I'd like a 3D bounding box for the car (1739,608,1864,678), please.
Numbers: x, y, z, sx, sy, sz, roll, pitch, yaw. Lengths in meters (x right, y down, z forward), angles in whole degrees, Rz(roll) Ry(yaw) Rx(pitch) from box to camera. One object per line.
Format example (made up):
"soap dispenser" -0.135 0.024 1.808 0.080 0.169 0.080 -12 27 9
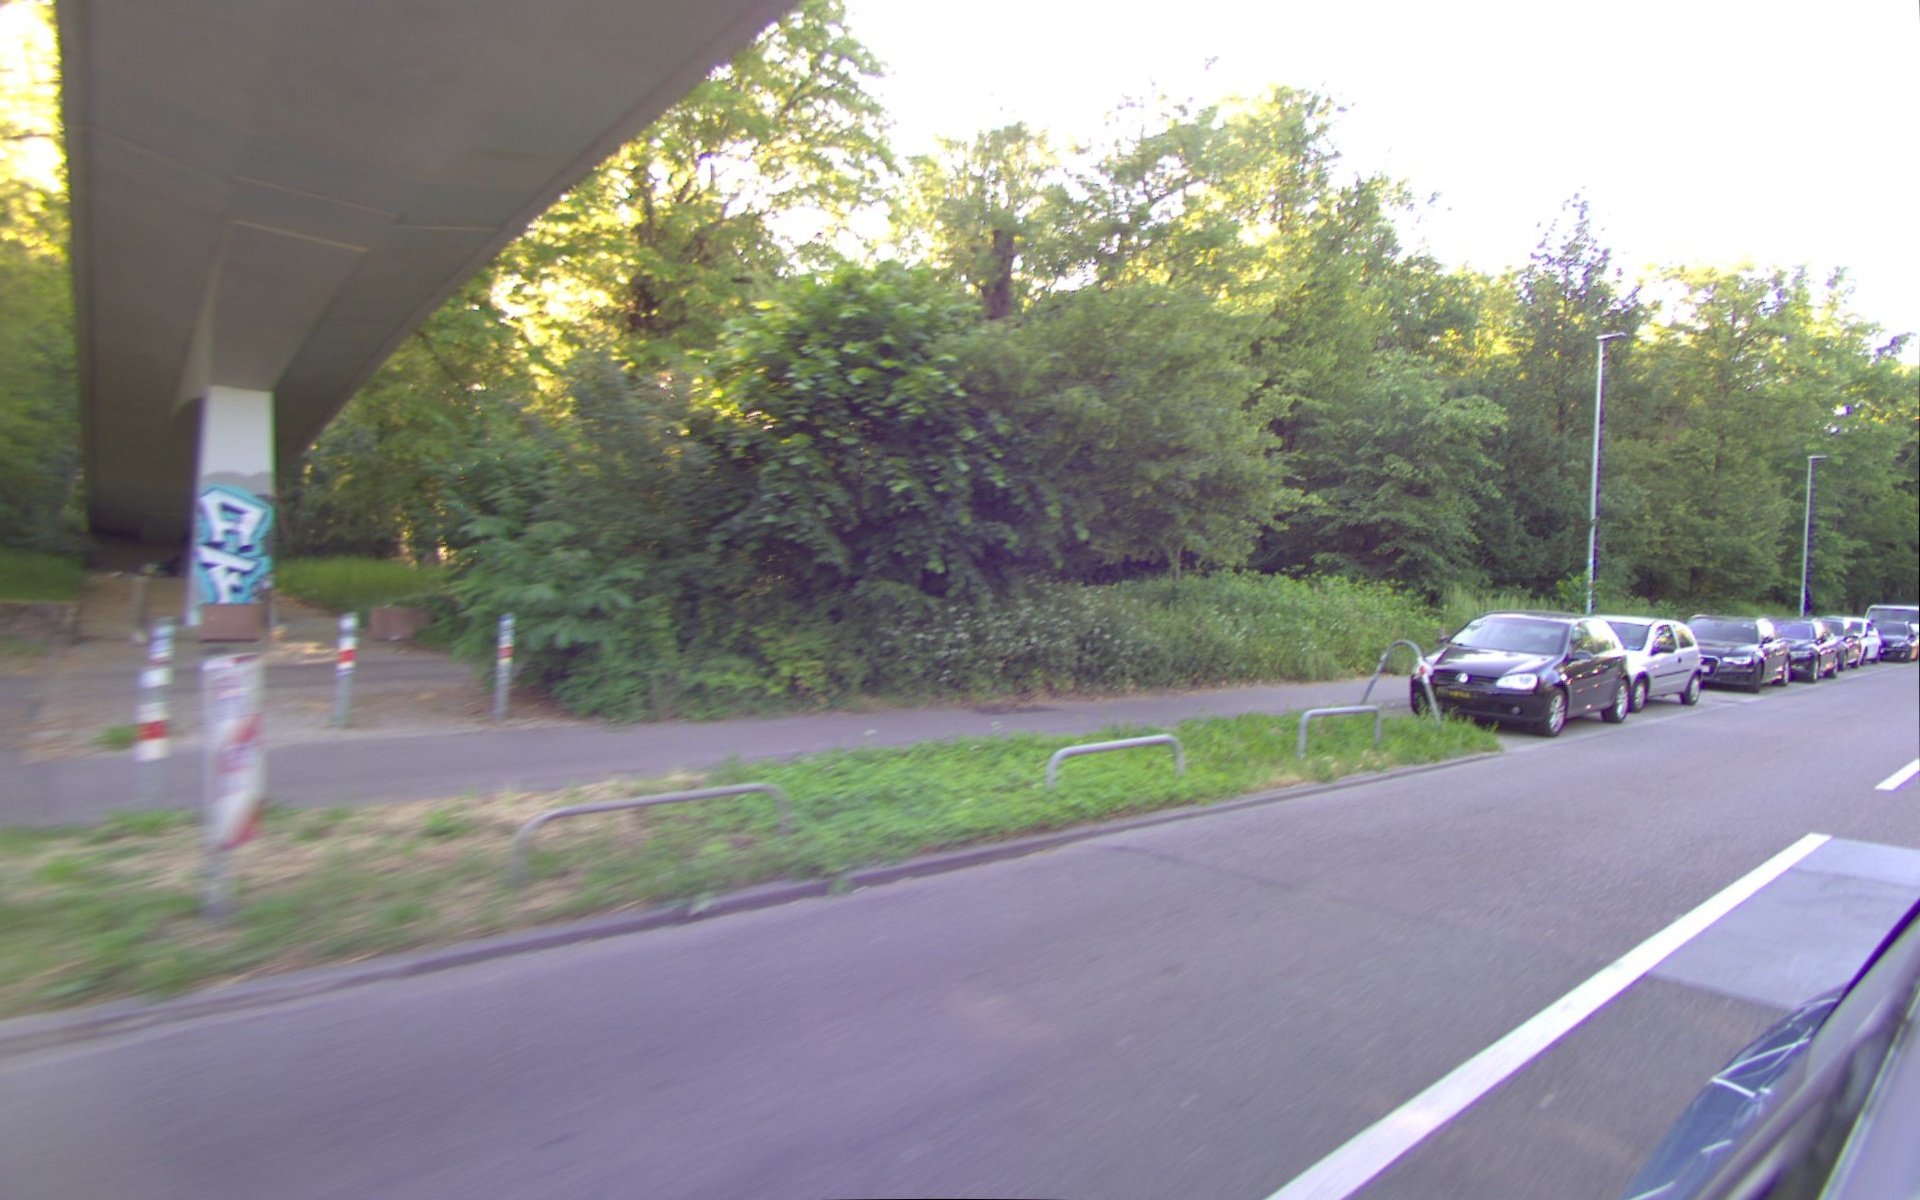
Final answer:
"car" 20.683 0.990 24.803 4.813 1.471 1.640 1 2 -42

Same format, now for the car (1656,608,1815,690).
"car" 16.575 0.950 21.535 4.951 1.471 1.777 1 2 -42

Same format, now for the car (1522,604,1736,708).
"car" 11.275 0.859 16.980 3.940 1.471 1.780 1 2 -38

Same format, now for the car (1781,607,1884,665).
"car" 25.113 0.995 29.083 3.873 1.471 1.589 1 2 -40

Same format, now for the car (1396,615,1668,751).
"car" 7.858 0.987 13.736 4.309 1.471 1.778 1 2 -40

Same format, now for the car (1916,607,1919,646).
"car" 46.671 1.285 47.801 4.656 1.826 1.762 1 2 -42

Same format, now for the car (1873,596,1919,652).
"car" 37.466 0.924 39.595 5.378 2.005 1.873 1 2 -40

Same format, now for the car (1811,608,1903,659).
"car" 28.710 1.042 32.370 3.730 1.471 1.590 1 2 -39

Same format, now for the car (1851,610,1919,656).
"car" 32.755 1.131 35.294 4.291 1.424 1.873 1 2 -40
